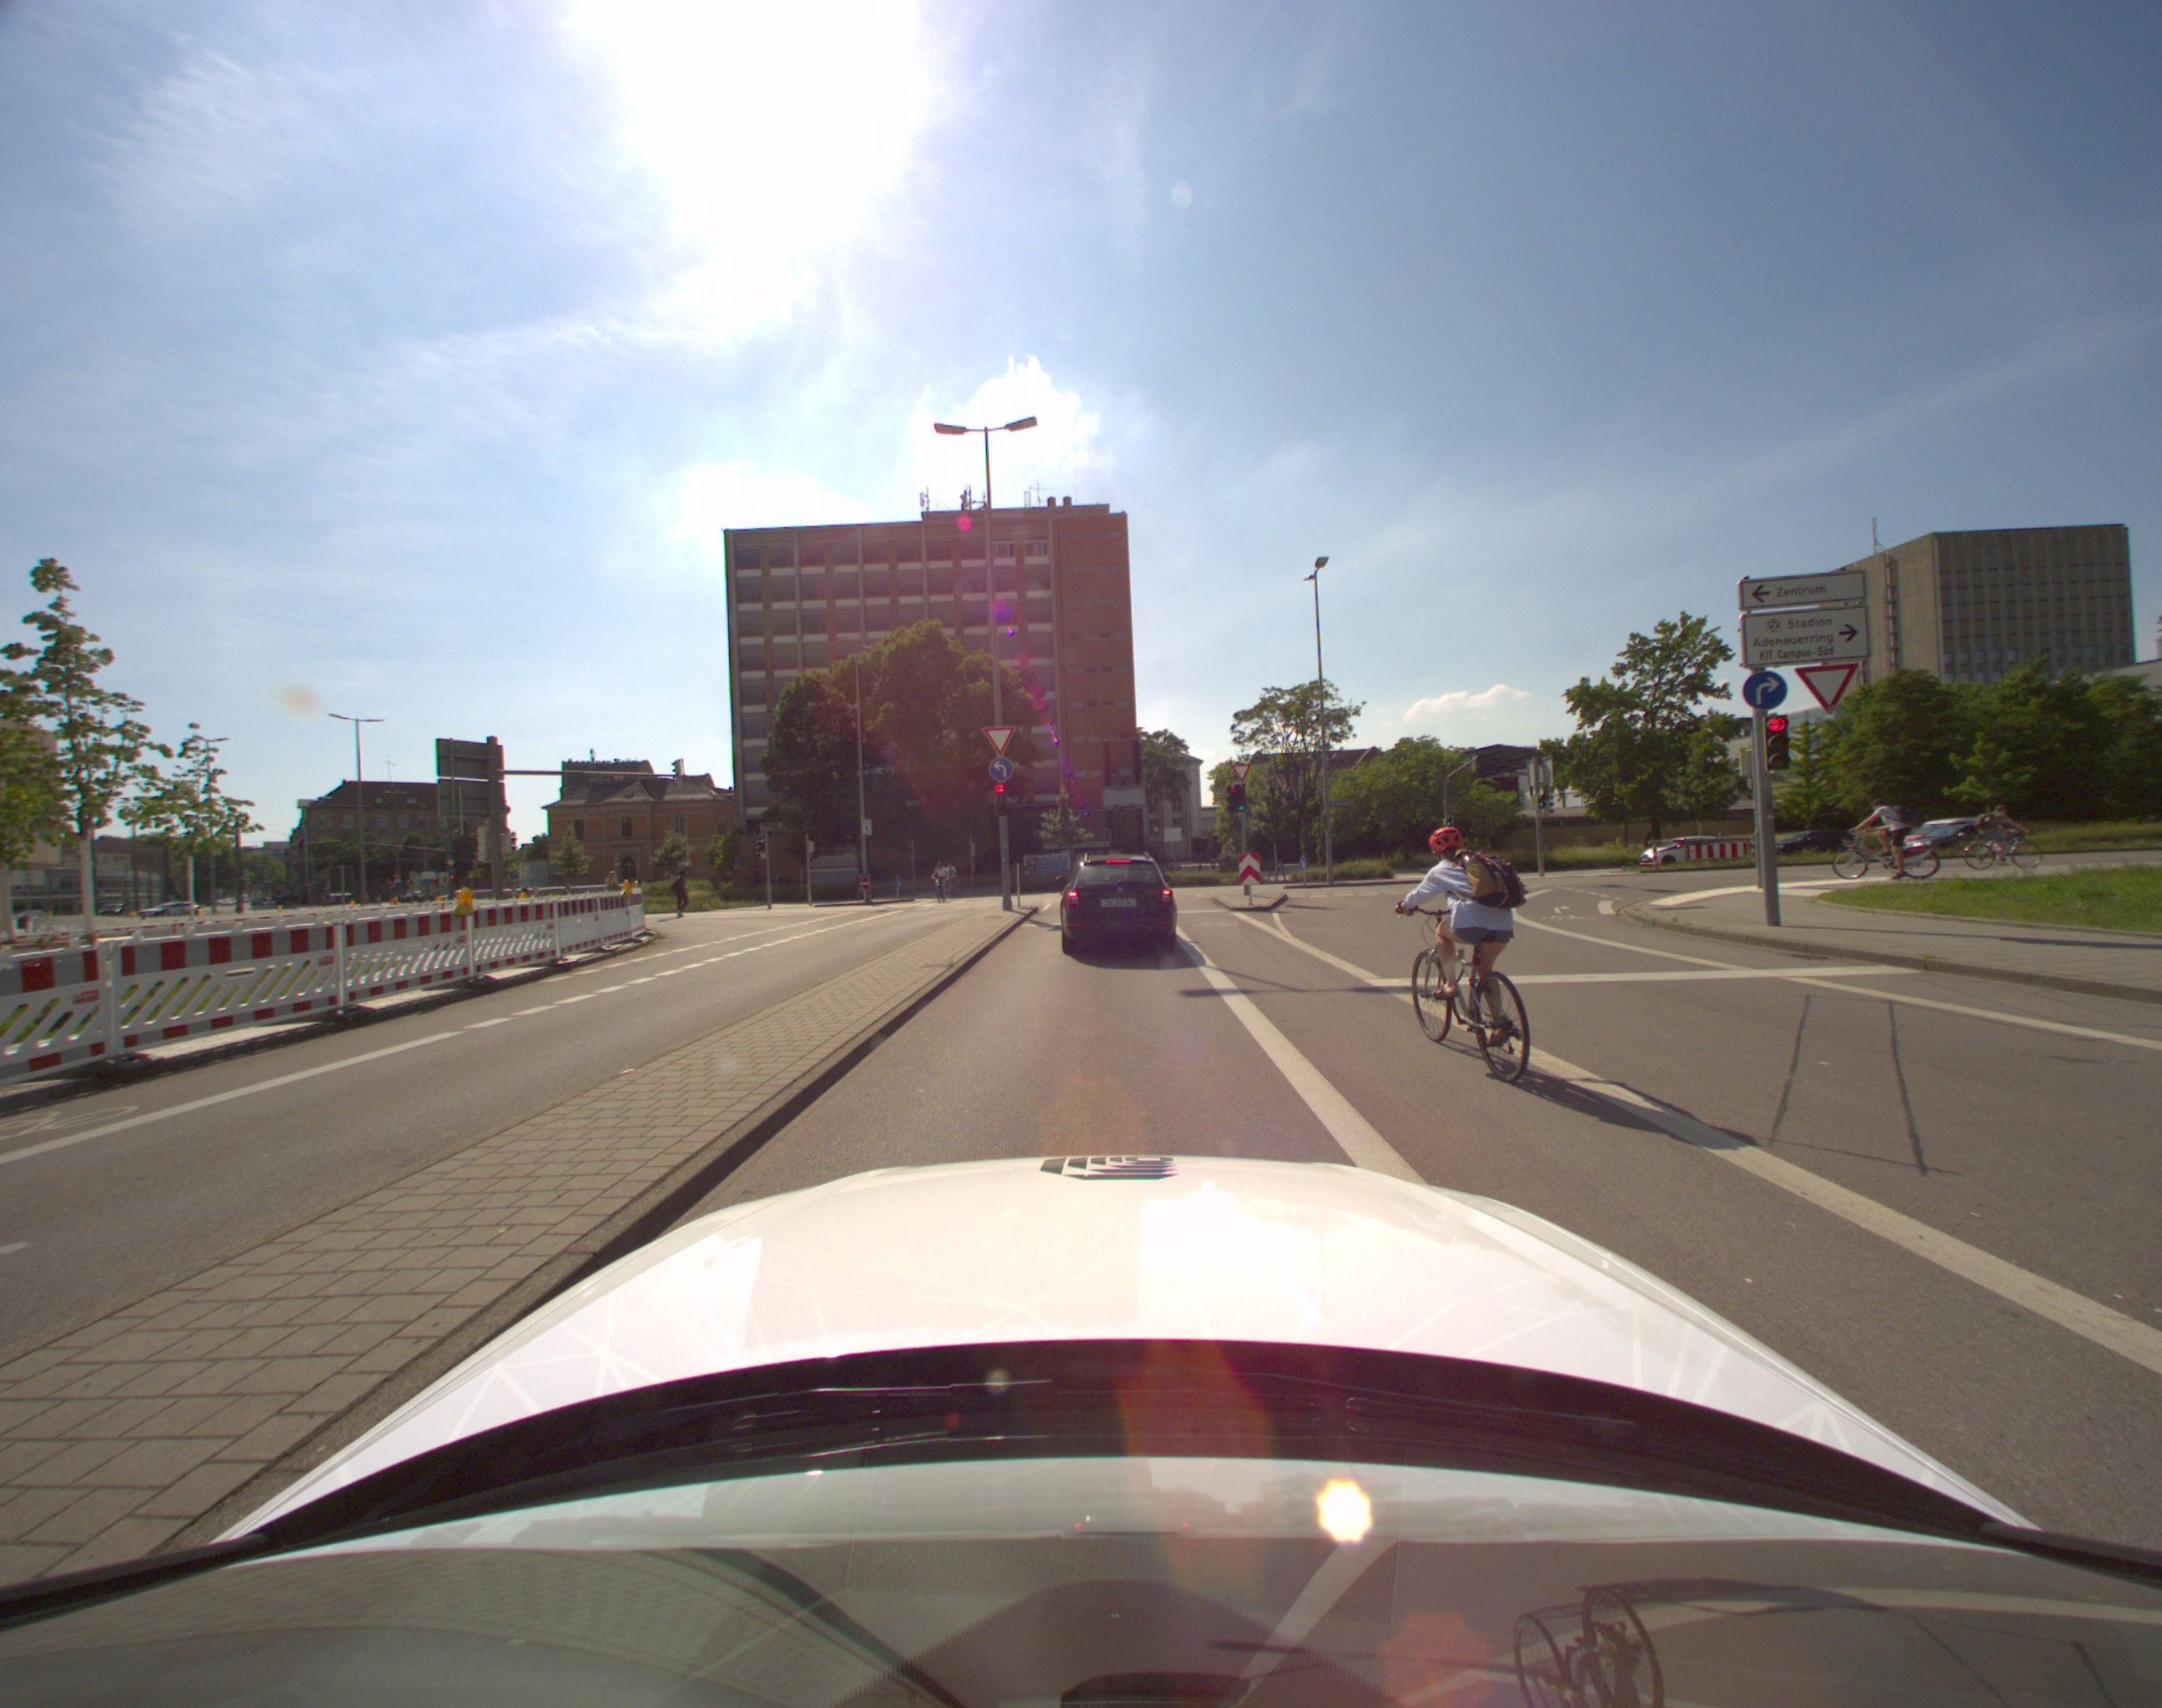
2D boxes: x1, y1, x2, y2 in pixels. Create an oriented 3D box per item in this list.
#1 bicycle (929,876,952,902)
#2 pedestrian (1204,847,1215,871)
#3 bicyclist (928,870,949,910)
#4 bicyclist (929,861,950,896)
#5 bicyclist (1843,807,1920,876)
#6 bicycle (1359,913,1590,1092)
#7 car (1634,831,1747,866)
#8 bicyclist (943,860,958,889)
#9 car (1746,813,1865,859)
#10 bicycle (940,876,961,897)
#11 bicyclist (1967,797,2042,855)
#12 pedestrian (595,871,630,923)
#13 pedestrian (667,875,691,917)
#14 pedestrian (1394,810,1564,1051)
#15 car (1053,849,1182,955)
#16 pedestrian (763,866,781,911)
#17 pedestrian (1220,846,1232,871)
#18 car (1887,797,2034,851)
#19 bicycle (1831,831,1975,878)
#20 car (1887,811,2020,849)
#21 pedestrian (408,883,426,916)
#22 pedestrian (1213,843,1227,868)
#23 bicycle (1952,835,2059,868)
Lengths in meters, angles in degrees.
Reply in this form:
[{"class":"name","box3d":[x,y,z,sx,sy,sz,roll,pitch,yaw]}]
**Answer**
[{"class":"bicycle","box3d":[-5.970,1.483,34.659,0.617,0.961,1.966,-5,0,-3]},{"class":"pedestrian","box3d":[10.068,0.388,63.595,0.591,1.874,0.642,-3,0,25]},{"class":"bicyclist","box3d":[-5.943,1.479,34.089,0.617,1.581,1.013,-5,0,-3]},{"class":"bicyclist","box3d":[-6.007,1.035,34.614,0.617,1.443,0.919,-5,0,-3]},{"class":"bicyclist","box3d":[17.635,-0.249,17.954,0.499,1.470,1.129,0,-2,-41]},{"class":"bicycle","box3d":[2.678,0.951,5.843,0.595,0.931,2.026,-2,-1,-2]},{"class":"car","box3d":[30.000,-0.266,40.181,3.972,1.464,2.000,-3,-1,1]},{"class":"bicyclist","box3d":[-6.601,1.029,41.182,0.537,1.417,1.030,-4,-1,0]},{"class":"car","box3d":[35.693,-0.864,40.206,3.970,2.013,2.002,-3,0,3]},{"class":"bicycle","box3d":[-6.615,1.641,41.279,0.702,0.977,2.030,-3,0,0]},{"class":"bicyclist","box3d":[24.592,-0.730,21.701,1.157,1.474,0.566,-3,0,14]},{"class":"pedestrian","box3d":[-16.499,1.521,28.696,0.737,1.752,1.105,-3,-2,-14]},{"class":"pedestrian","box3d":[-14.795,1.528,29.973,0.632,1.491,0.614,-3,0,-15]},{"class":"pedestrian","box3d":[2.647,0.470,5.525,0.582,1.466,1.012,-2,-1,-3]},{"class":"car","box3d":[0.581,0.663,13.202,1.773,1.443,3.820,-1,0,2]},{"class":"pedestrian","box3d":[-14.019,1.570,36.938,0.618,2.014,0.679,0,-2,-36]},{"class":"pedestrian","box3d":[11.093,0.371,62.423,0.634,1.874,0.797,-4,0,1]},{"class":"car","box3d":[38.637,-1.297,35.885,3.966,2.014,2.004,-3,-2,7]},{"class":"bicycle","box3d":[17.880,0.025,17.761,0.678,0.916,2.143,-3,0,-41]},{"class":"car","box3d":[42.016,-1.125,39.309,4.294,1.569,1.911,-3,0,1]},{"class":"pedestrian","box3d":[-42.012,2.885,51.547,0.621,2.013,0.525,-3,-1,16]},{"class":"pedestrian","box3d":[10.878,0.134,63.529,0.786,1.874,0.642,-4,0,25]},{"class":"bicycle","box3d":[24.607,-0.069,21.705,1.876,0.792,0.562,-3,1,14]}]
